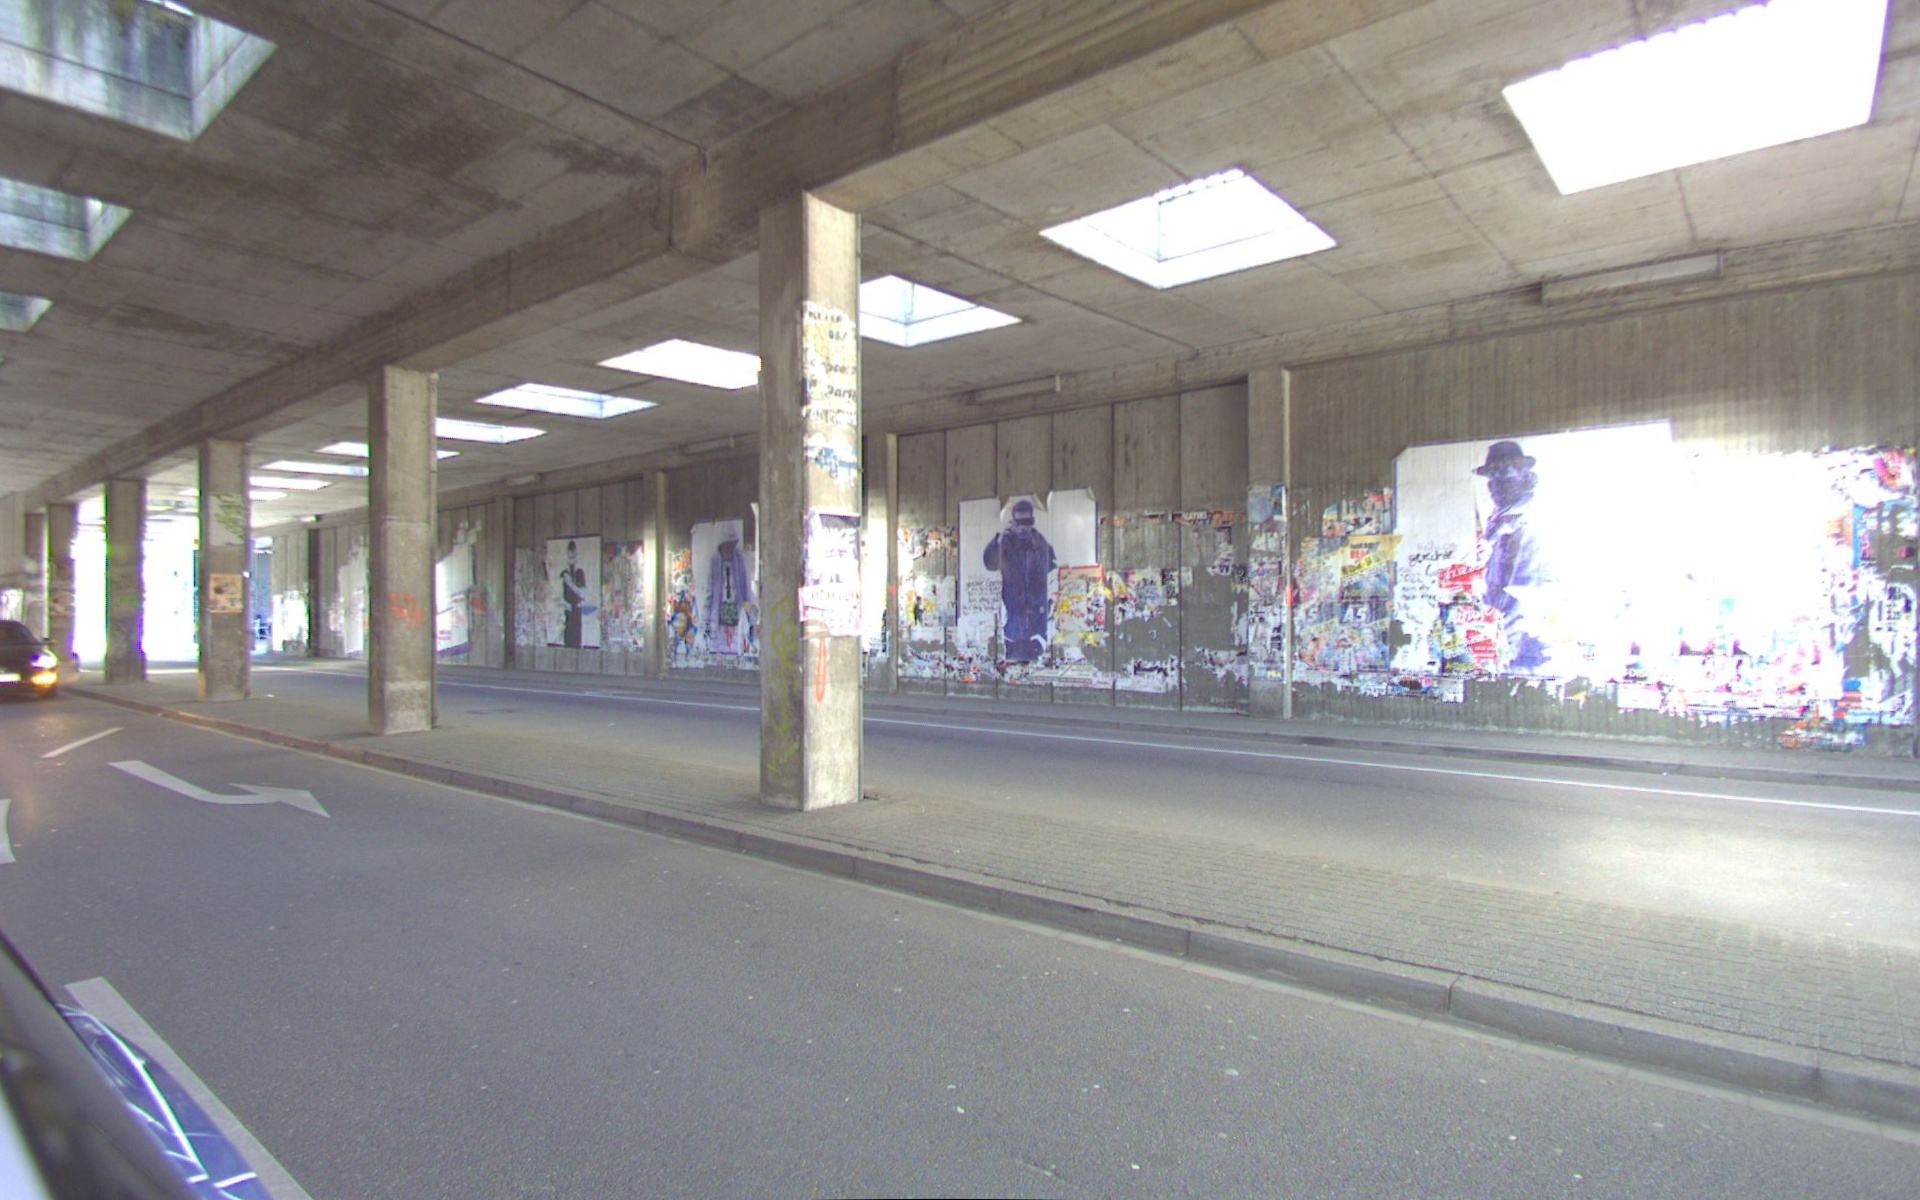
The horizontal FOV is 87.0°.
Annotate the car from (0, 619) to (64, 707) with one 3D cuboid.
[{"bbox_3d":[-17.735,1.101,18.258,4.175,1.458,1.761,-1,-1,40],"label":"car"}]
